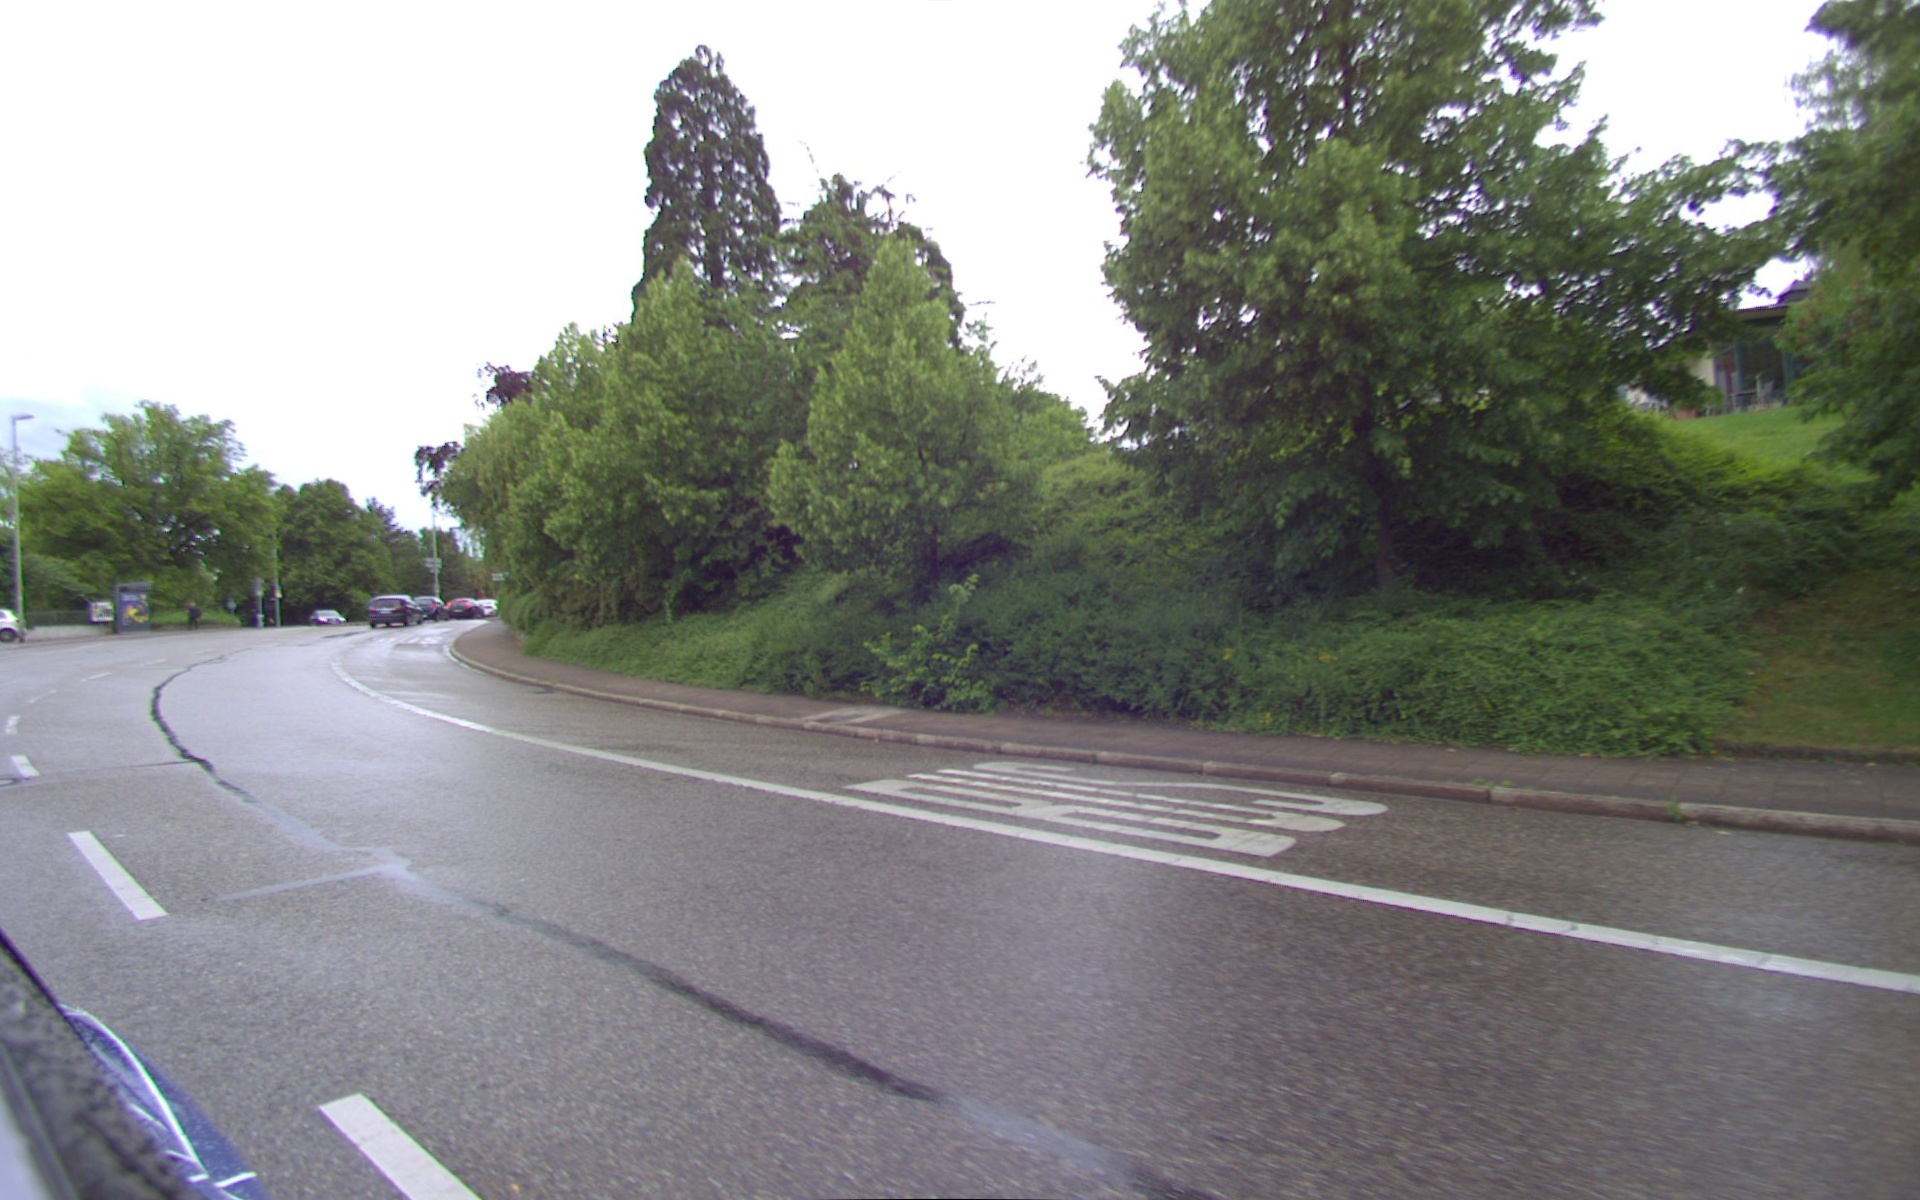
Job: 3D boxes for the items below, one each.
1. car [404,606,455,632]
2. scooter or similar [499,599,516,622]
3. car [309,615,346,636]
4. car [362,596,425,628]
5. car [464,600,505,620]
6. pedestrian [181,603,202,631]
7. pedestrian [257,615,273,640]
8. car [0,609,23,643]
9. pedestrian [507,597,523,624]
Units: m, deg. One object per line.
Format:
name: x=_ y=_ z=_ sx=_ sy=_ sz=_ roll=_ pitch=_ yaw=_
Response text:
car: x=-32.272 y=1.151 z=61.691 sx=1.698 sy=1.475 sz=4.388 roll=-2 pitch=-1 yaw=-13
scooter or similar: x=-31.083 y=0.730 z=69.592 sx=0.504 sy=1.527 sz=1.317 roll=-2 pitch=-1 yaw=2
car: x=-50.753 y=2.068 z=81.188 sx=1.834 sy=1.425 sz=4.392 roll=-2 pitch=-2 yaw=-41
car: x=-30.185 y=0.616 z=54.079 sx=1.786 sy=1.588 sz=4.699 roll=-2 pitch=1 yaw=-14
car: x=-36.409 y=0.774 z=77.547 sx=1.804 sy=1.412 sz=4.833 roll=-2 pitch=0 yaw=-13
pedestrian: x=-47.952 y=1.058 z=63.154 sx=0.912 sy=1.667 sz=1.101 roll=-2 pitch=-1 yaw=-31
pedestrian: x=-49.441 y=1.977 z=72.038 sx=0.713 sy=1.746 sz=0.822 roll=-2 pitch=-1 yaw=-20
car: x=-46.265 y=1.231 z=47.083 sx=3.810 sy=1.578 sz=1.730 roll=1 pitch=-2 yaw=-41
pedestrian: x=-30.572 y=0.711 z=69.584 sx=0.695 sy=1.821 sz=0.825 roll=-2 pitch=-1 yaw=2
